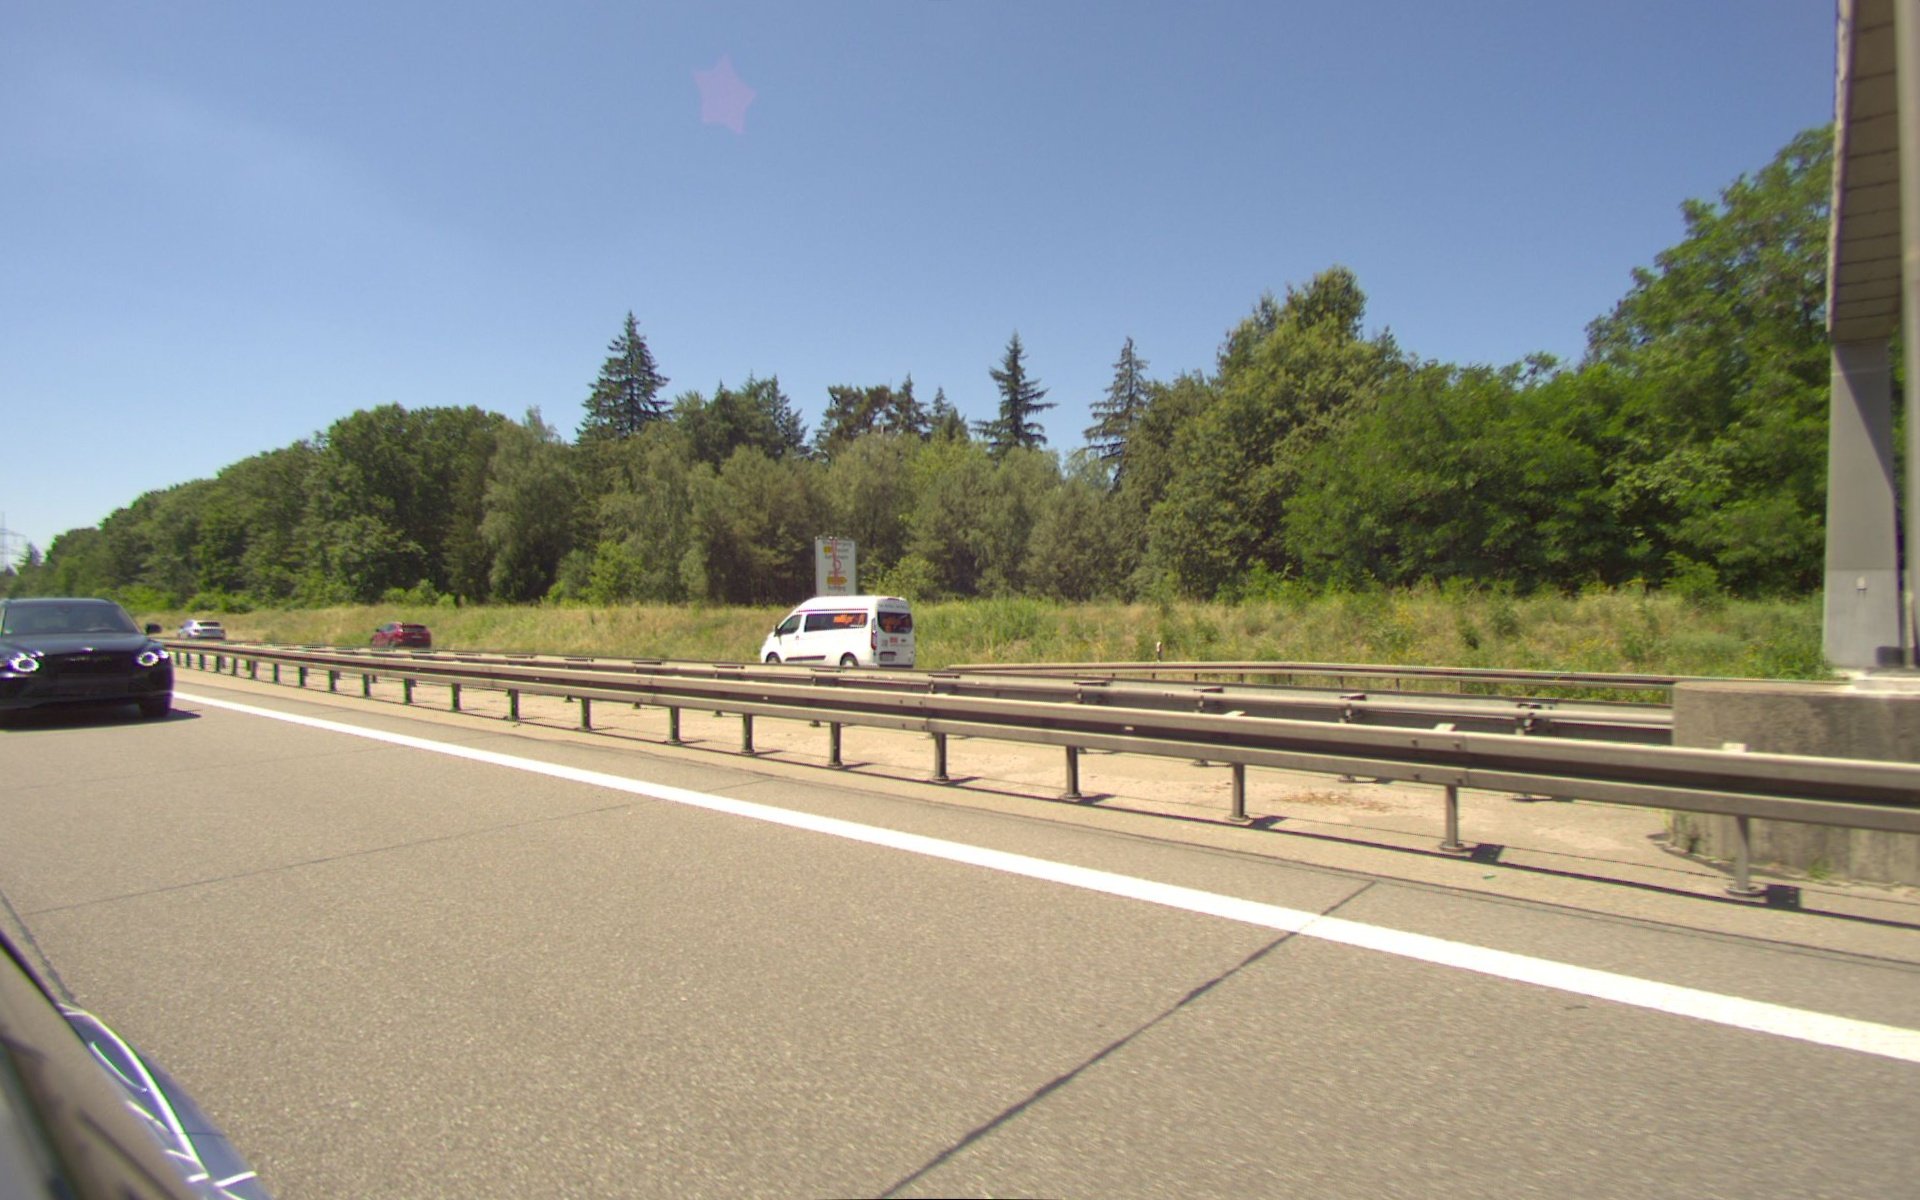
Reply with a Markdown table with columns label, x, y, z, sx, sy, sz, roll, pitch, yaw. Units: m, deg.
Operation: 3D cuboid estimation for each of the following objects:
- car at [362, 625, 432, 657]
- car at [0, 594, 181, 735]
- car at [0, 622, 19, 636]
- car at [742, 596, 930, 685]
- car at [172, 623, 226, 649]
| label | x | y | z | sx | sy | sz | roll | pitch | yaw |
| --- | --- | --- | --- | --- | --- | --- | --- | --- | --- |
| car | -29.055 | 2.106 | 52.208 | 4.609 | 1.603 | 1.629 | -1 | -4 | 41 |
| car | -13.641 | 0.864 | 15.187 | 5.809 | 1.765 | 1.921 | -2 | -1 | 40 |
| car | -118.204 | 3.602 | 125.287 | 4.982 | 1.631 | 1.776 | -1 | -4 | 40 |
| car | -3.718 | 1.169 | 29.514 | 5.805 | 2.358 | 1.967 | -1 | -4 | 40 |
| car | -46.319 | 2.176 | 61.569 | 4.557 | 1.510 | 1.629 | -1 | -4 | 40 |
